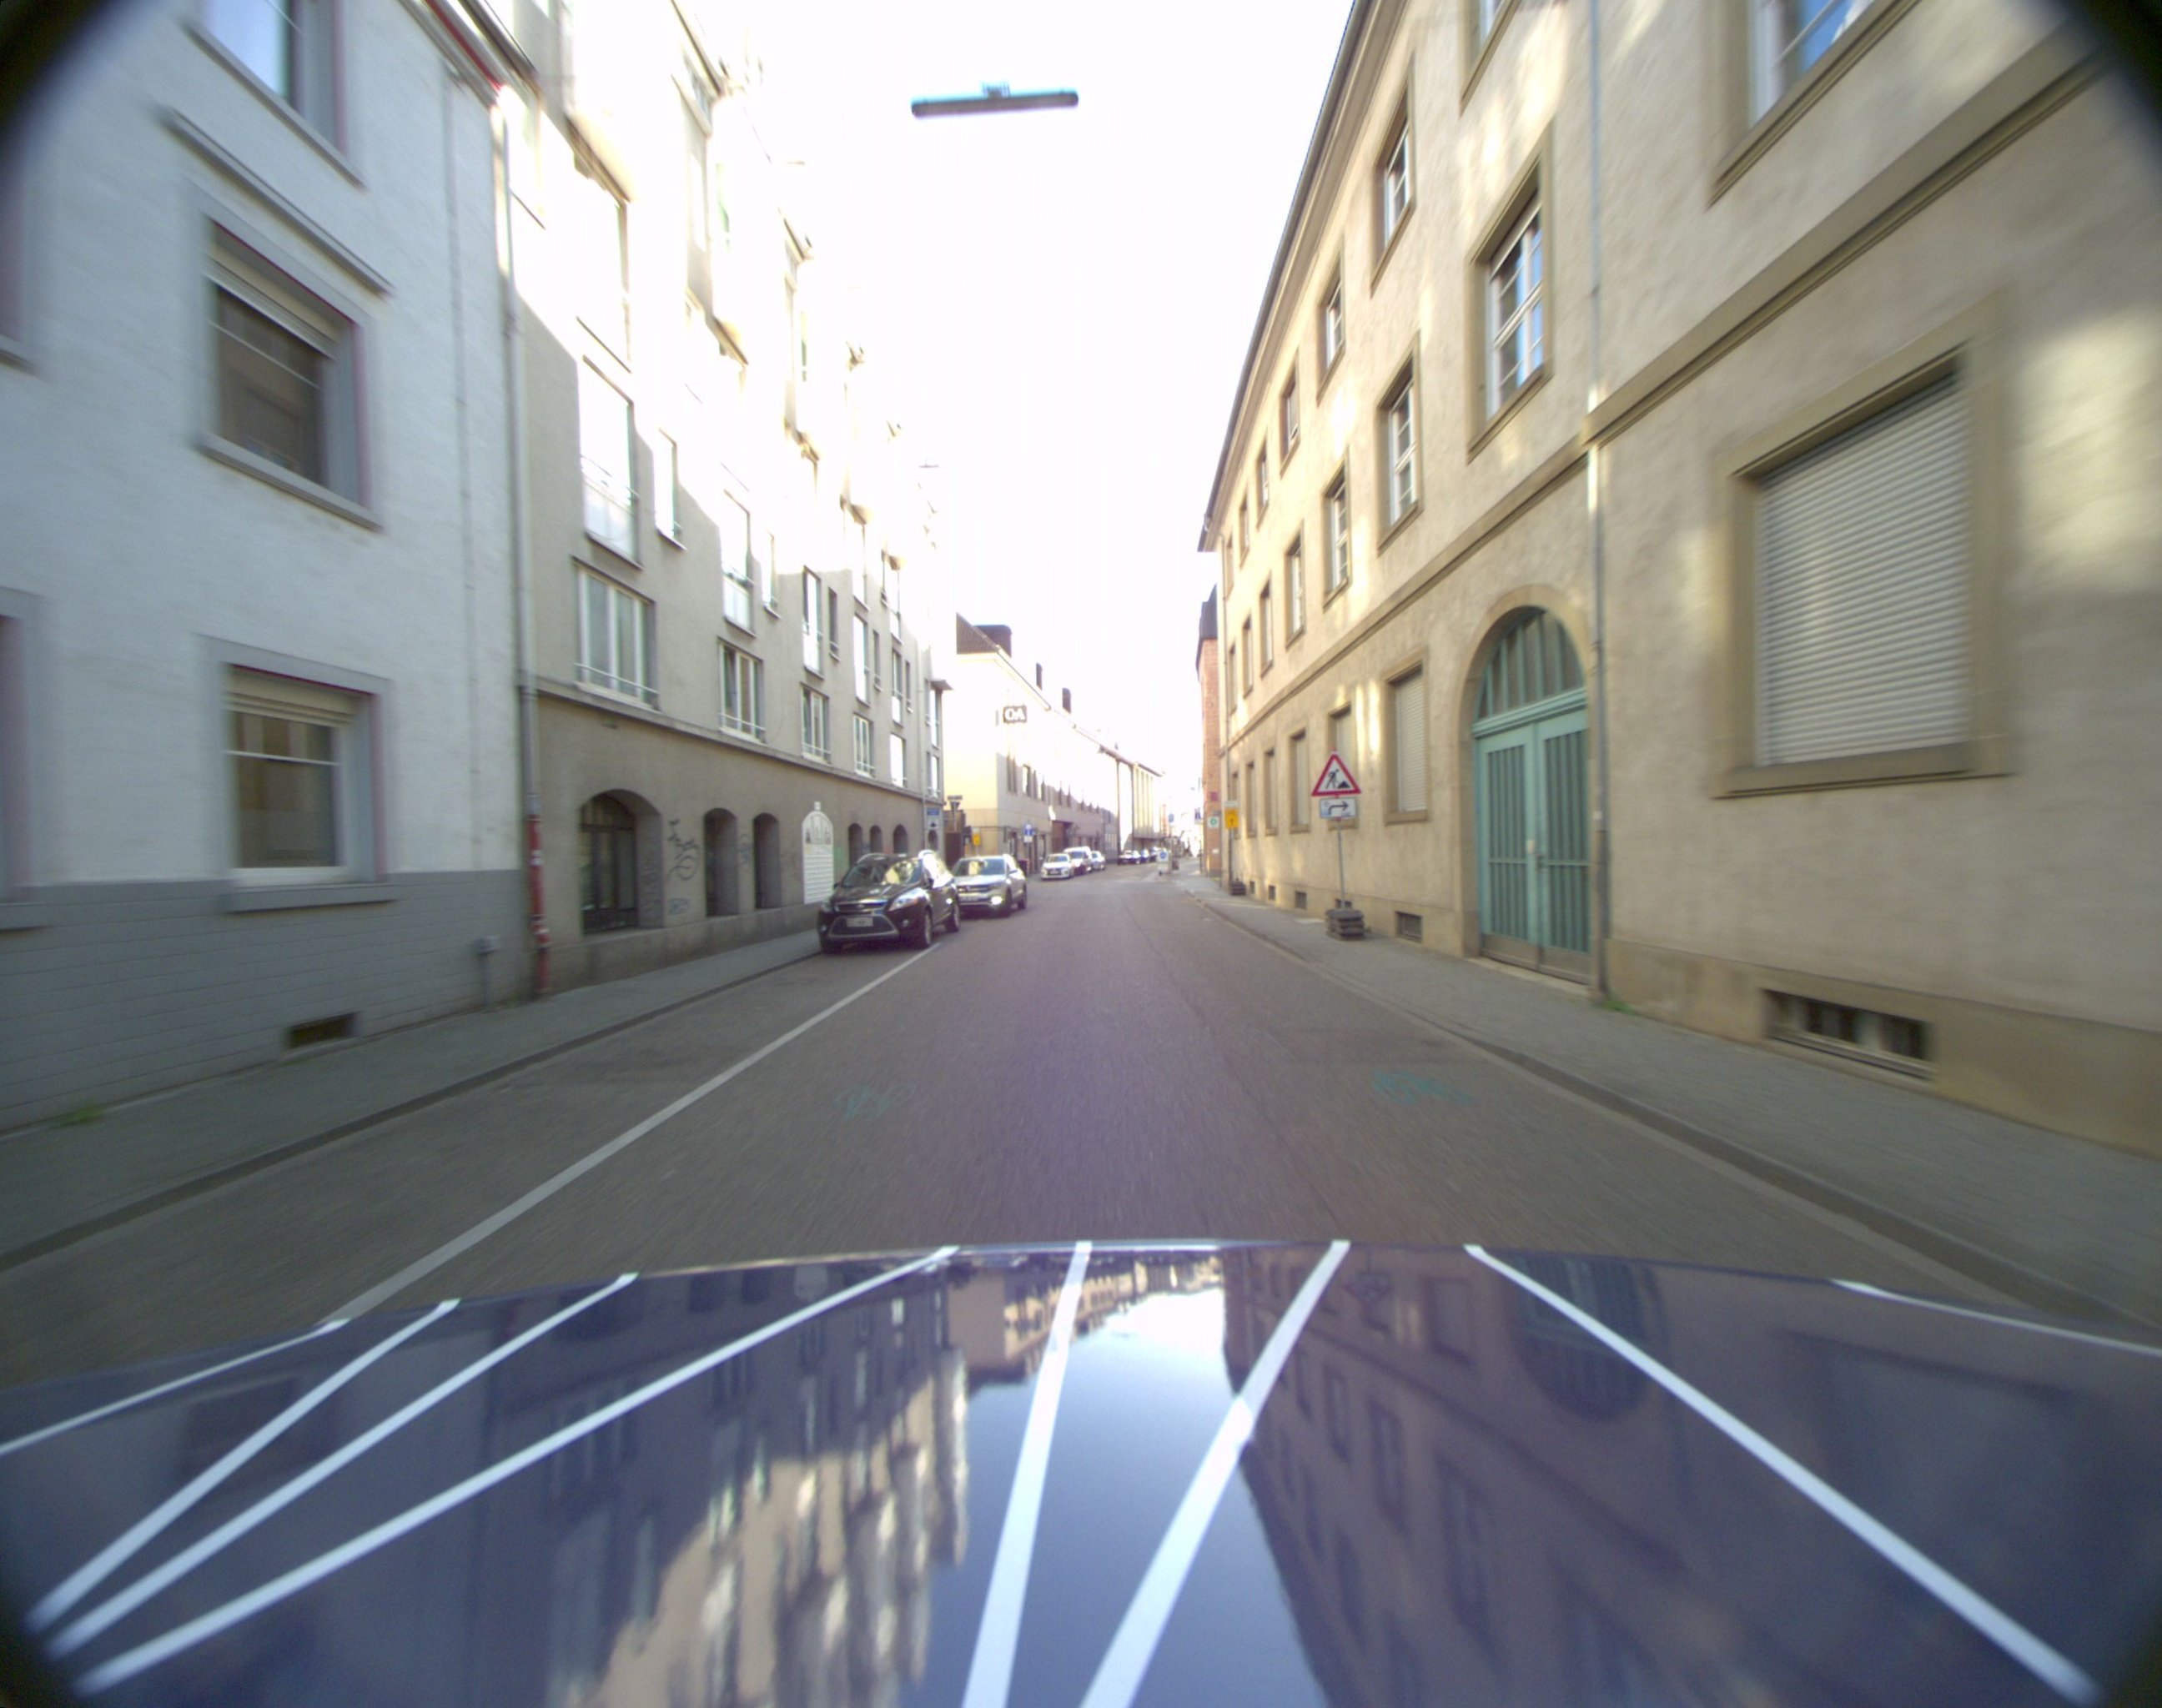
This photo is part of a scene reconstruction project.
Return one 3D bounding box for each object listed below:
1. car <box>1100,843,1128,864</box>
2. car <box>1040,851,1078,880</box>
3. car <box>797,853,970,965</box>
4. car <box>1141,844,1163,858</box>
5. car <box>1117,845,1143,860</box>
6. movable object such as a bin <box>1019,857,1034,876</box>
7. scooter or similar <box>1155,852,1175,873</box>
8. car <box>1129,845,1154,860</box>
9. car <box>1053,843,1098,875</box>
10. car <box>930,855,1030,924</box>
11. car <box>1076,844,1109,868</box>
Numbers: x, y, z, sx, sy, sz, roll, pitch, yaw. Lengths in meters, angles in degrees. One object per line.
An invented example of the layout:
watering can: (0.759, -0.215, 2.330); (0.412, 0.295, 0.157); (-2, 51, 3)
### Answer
car: (2.916, -0.036, 66.200); (1.774, 1.574, 3.859); (-6, 0, 11)
car: (-1.255, 0.617, 44.555); (1.734, 1.539, 4.001); (-2, 0, 5)
car: (-3.423, 0.866, 14.172); (1.829, 1.645, 4.493); (-2, 0, 2)
car: (8.403, -0.362, 89.227); (1.963, 1.527, 4.200); (-3, 1, 13)
car: (4.989, -0.191, 76.964); (1.963, 1.400, 4.200); (-3, 1, 13)
movable object such as a bin: (-3.327, 0.764, 46.187); (0.688, 1.080, 0.929); (-2, 1, 6)
scooter or similar: (5.019, 0.487, 45.461); (0.467, 1.218, 1.302); (1, 1, 44)
car: (6.666, -0.170, 83.388); (1.963, 1.400, 4.200); (-3, 1, 13)
car: (-0.280, 0.262, 50.886); (1.946, 1.850, 5.198); (-6, 0, 10)
car: (-2.545, 0.855, 20.119); (1.829, 1.550, 3.987); (-2, 1, 4)
car: (0.901, 0.134, 56.996); (1.774, 1.574, 3.859); (-6, 0, 10)
